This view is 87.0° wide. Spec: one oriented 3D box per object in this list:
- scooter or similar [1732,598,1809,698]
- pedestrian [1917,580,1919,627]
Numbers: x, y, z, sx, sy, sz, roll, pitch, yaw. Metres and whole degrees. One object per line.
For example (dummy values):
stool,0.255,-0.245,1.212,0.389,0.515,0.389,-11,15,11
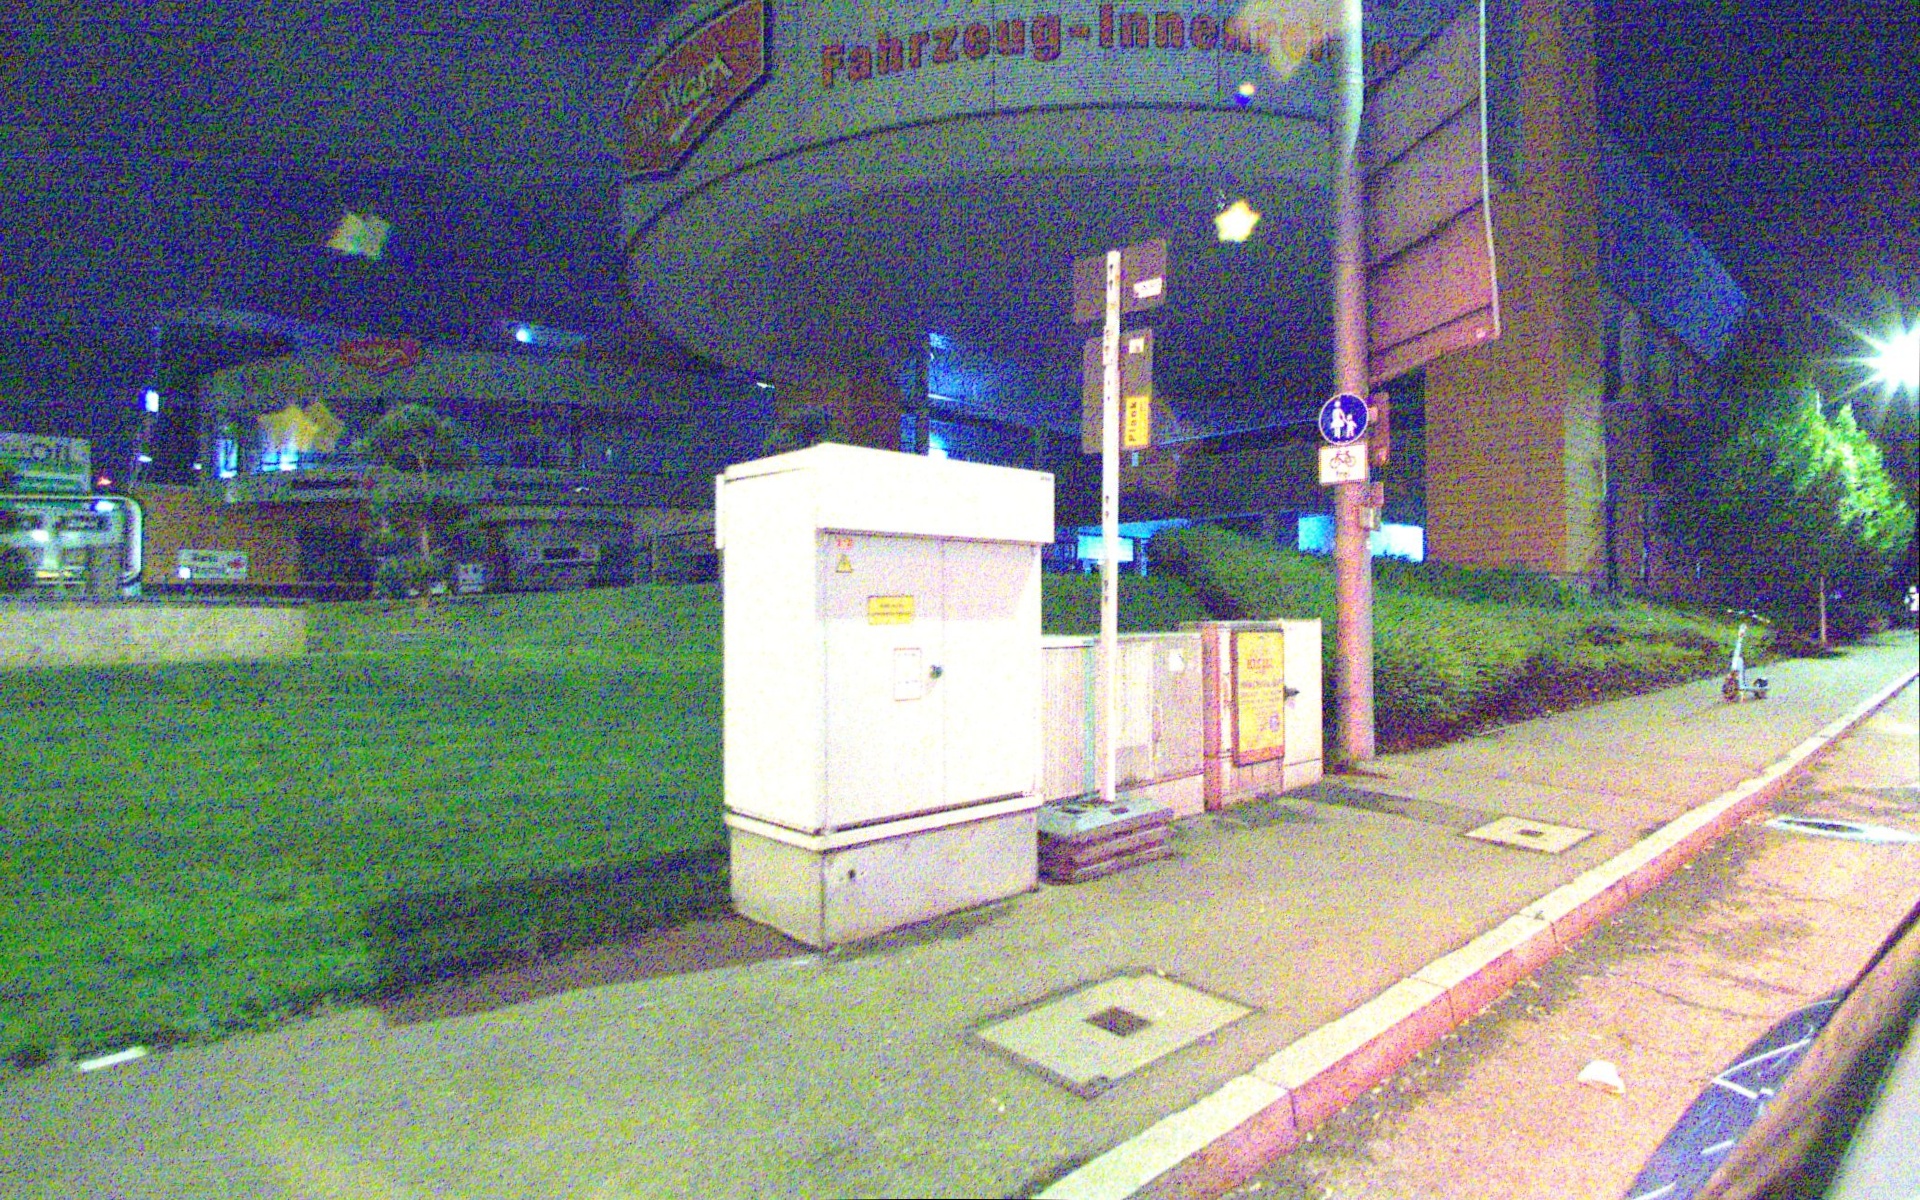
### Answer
scooter or similar,11.229,0.632,14.005,1.367,1.295,0.569,0,1,-41
pedestrian,37.941,0.129,39.446,0.597,1.842,0.824,-1,0,-40
